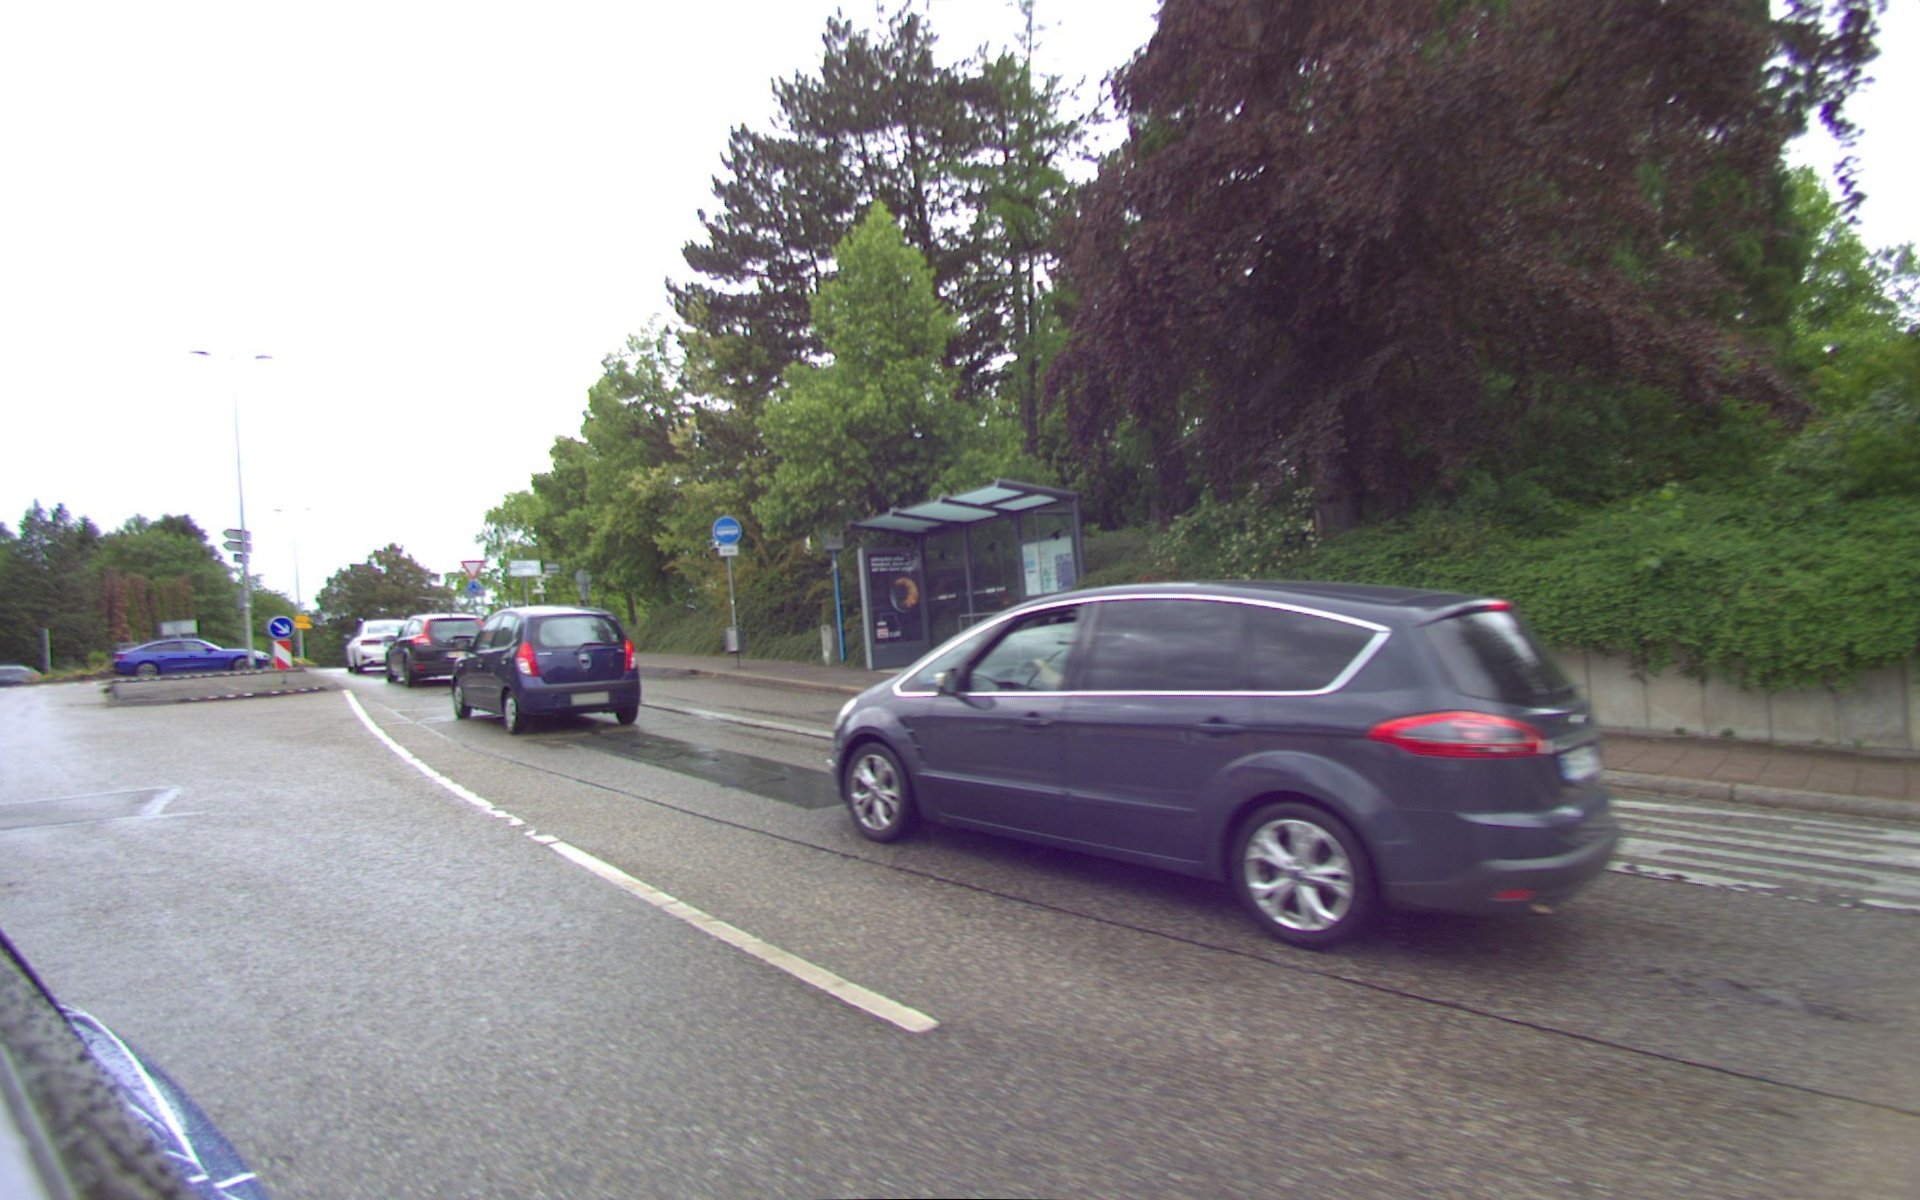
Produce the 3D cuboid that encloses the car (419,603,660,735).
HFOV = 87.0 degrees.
[{"bbox_3d":[-5.834,0.888,13.711,1.700,1.475,4.383,-1,-2,-41],"label":"car"}]

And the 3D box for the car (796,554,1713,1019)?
[{"bbox_3d":[1.227,0.680,5.739,4.687,1.589,1.790,-2,-1,44],"label":"car"}]

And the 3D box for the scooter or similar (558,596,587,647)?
[{"bbox_3d":[-11.997,0.686,31.305,0.502,1.527,1.321,-1,-2,-36],"label":"scooter or similar"}]

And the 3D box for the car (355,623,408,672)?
[{"bbox_3d":[-32.351,2.690,56.505,2.138,2.434,5.410,-1,-4,-34],"label":"car"}]

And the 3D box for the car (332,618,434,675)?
[{"bbox_3d":[-16.383,1.297,28.623,1.805,1.412,4.830,-1,-2,-38],"label":"car"}]

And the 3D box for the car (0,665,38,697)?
[{"bbox_3d":[-46.889,3.955,48.021,1.860,1.425,4.332,-5,-2,36],"label":"car"}]

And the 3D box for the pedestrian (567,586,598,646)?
[{"bbox_3d":[-11.756,0.500,31.520,0.693,1.821,0.827,-1,-2,-36],"label":"pedestrian"}]

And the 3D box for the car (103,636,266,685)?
[{"bbox_3d":[-28.742,2.222,37.689,4.592,1.448,1.768,-3,-2,-31],"label":"car"}]

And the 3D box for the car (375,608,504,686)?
[{"bbox_3d":[-11.005,0.997,21.239,1.767,1.458,4.413,2,-4,-35],"label":"car"}]
